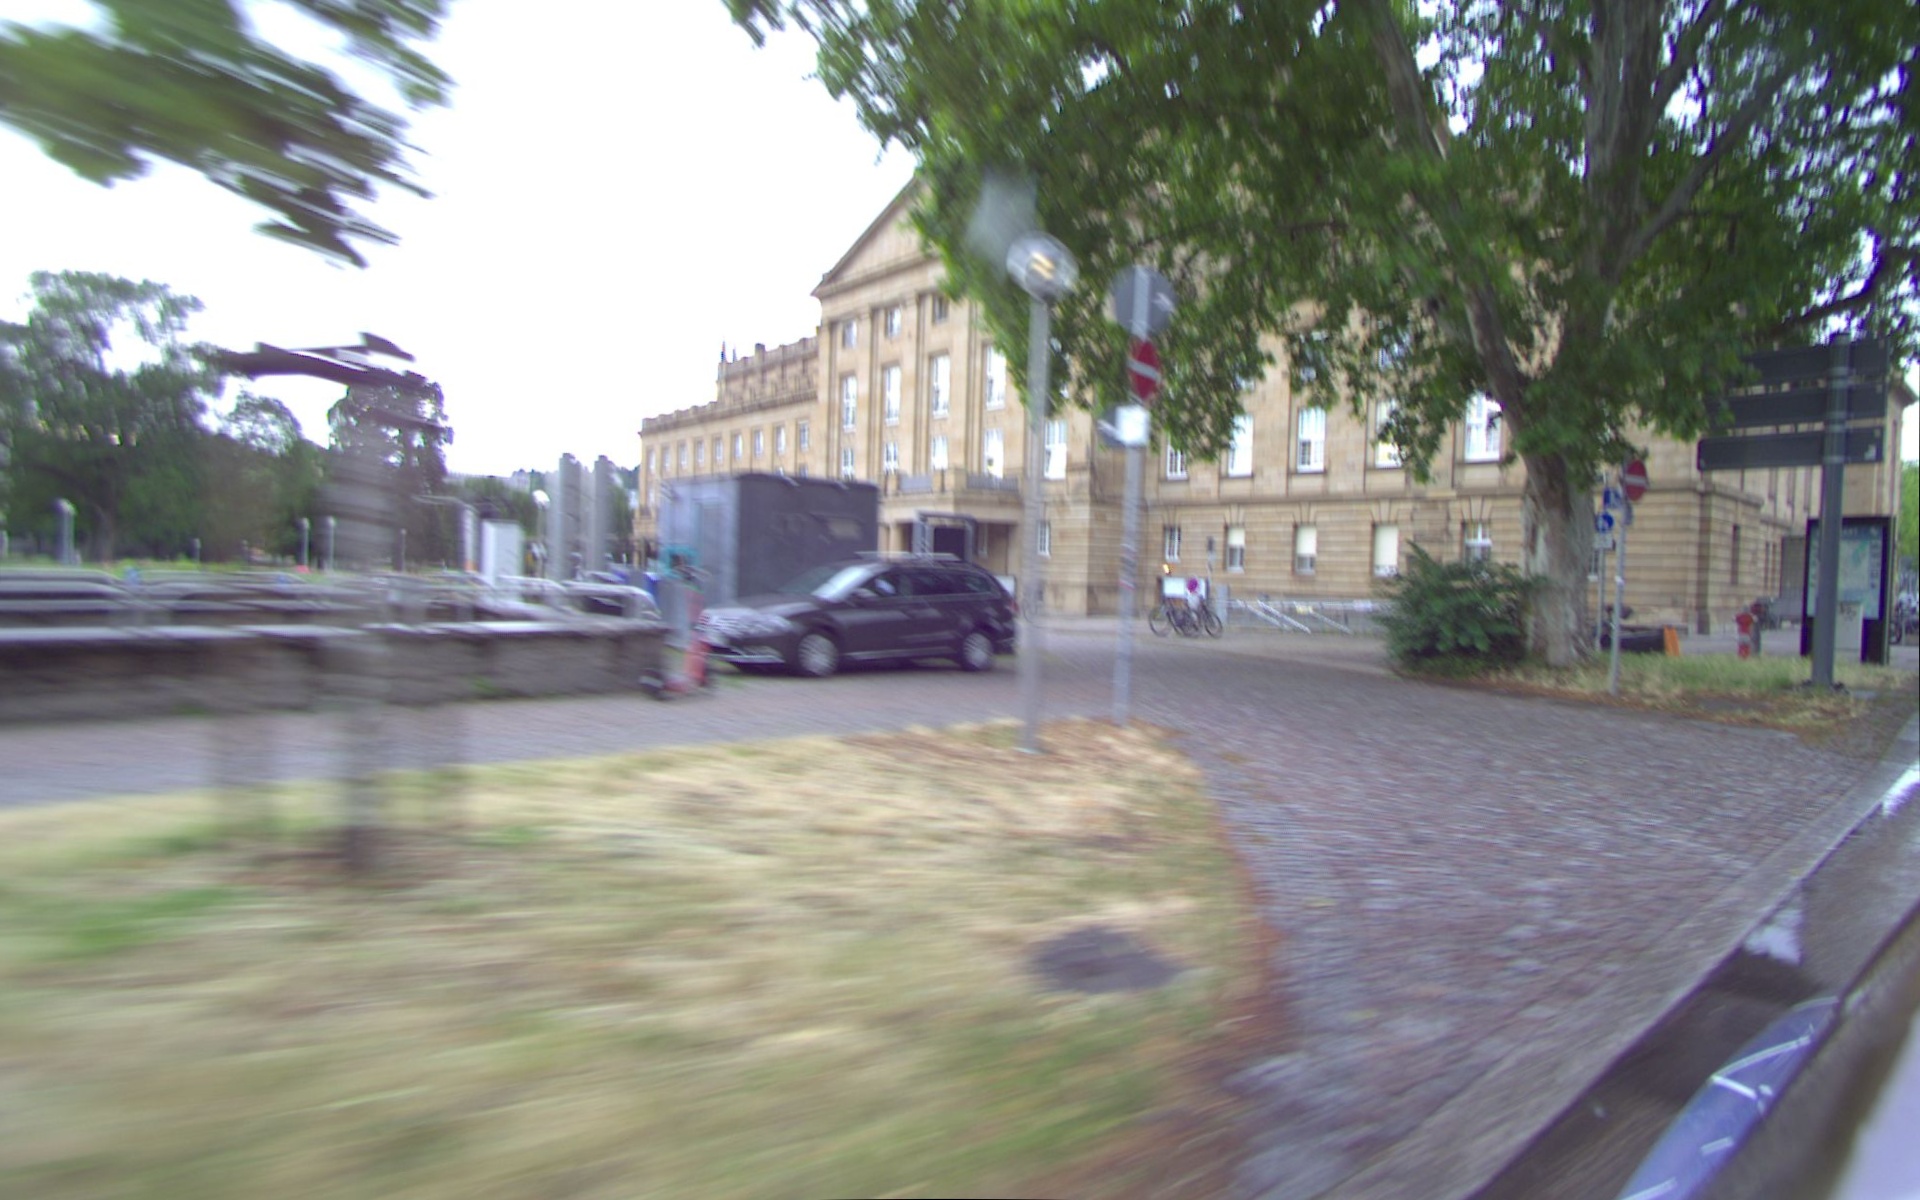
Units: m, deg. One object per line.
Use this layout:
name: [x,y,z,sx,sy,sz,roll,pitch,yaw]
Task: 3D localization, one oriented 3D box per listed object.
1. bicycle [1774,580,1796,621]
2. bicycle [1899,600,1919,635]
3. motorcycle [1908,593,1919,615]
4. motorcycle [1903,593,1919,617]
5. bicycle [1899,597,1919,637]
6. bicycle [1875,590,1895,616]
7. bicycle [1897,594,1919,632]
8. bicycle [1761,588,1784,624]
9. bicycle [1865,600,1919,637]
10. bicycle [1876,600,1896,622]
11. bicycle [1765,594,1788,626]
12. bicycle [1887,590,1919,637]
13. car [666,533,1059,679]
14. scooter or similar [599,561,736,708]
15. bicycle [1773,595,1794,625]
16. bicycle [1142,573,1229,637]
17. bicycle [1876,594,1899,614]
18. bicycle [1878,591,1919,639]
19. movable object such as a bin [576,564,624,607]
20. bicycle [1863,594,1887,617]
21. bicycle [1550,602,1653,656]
bicycle: [31.232,0.006,38.308,1.573,1.535,0.454,0,0,-44]
bicycle: [29.962,0.550,30.801,0.747,1.073,1.986,0,2,-44]
motorcycle: [56.915,0.236,59.937,1.766,1.315,0.809,-1,2,-38]
motorcycle: [55.211,0.254,58.507,2.096,1.342,0.669,-1,2,-38]
bicycle: [27.939,0.495,28.817,0.591,1.136,1.683,1,1,-39]
bicycle: [48.228,0.156,52.763,0.730,1.284,1.732,3,3,43]
bicycle: [28.789,0.397,29.781,0.639,1.104,1.683,0,1,-39]
bicycle: [29.680,0.206,36.963,1.573,1.267,0.454,0,0,-44]
bicycle: [26.940,0.534,28.868,0.515,1.007,1.593,0,1,-39]
bicycle: [46.988,0.548,51.357,0.712,1.064,1.714,2,2,43]
bicycle: [29.202,0.348,36.195,1.759,1.093,0.352,-1,4,-43]
bicycle: [28.386,0.404,29.525,0.639,1.349,1.910,0,1,-39]
car: [-1.127,0.090,13.731,5.147,1.630,1.996,2,0,-43]
scooter or similar: [-2.732,0.282,9.597,0.536,1.271,1.430,2,2,17]
bicycle: [30.349,0.359,37.299,1.759,1.093,0.352,-1,1,-43]
bicycle: [6.240,0.099,28.085,2.315,1.687,0.763,1,2,43]
bicycle: [51.414,0.225,56.081,1.736,1.063,0.420,0,1,-29]
bicycle: [27.845,0.442,28.995,0.639,1.353,2.196,0,2,-39]
movable object such as a bin: [-13.079,-0.545,36.756,1.227,1.474,1.494,-1,4,-38]
bicycle: [44.807,0.255,49.558,1.727,1.051,0.585,-1,2,-39]
bicycle: [12.804,0.553,20.248,0.564,1.033,1.645,0,0,-36]
